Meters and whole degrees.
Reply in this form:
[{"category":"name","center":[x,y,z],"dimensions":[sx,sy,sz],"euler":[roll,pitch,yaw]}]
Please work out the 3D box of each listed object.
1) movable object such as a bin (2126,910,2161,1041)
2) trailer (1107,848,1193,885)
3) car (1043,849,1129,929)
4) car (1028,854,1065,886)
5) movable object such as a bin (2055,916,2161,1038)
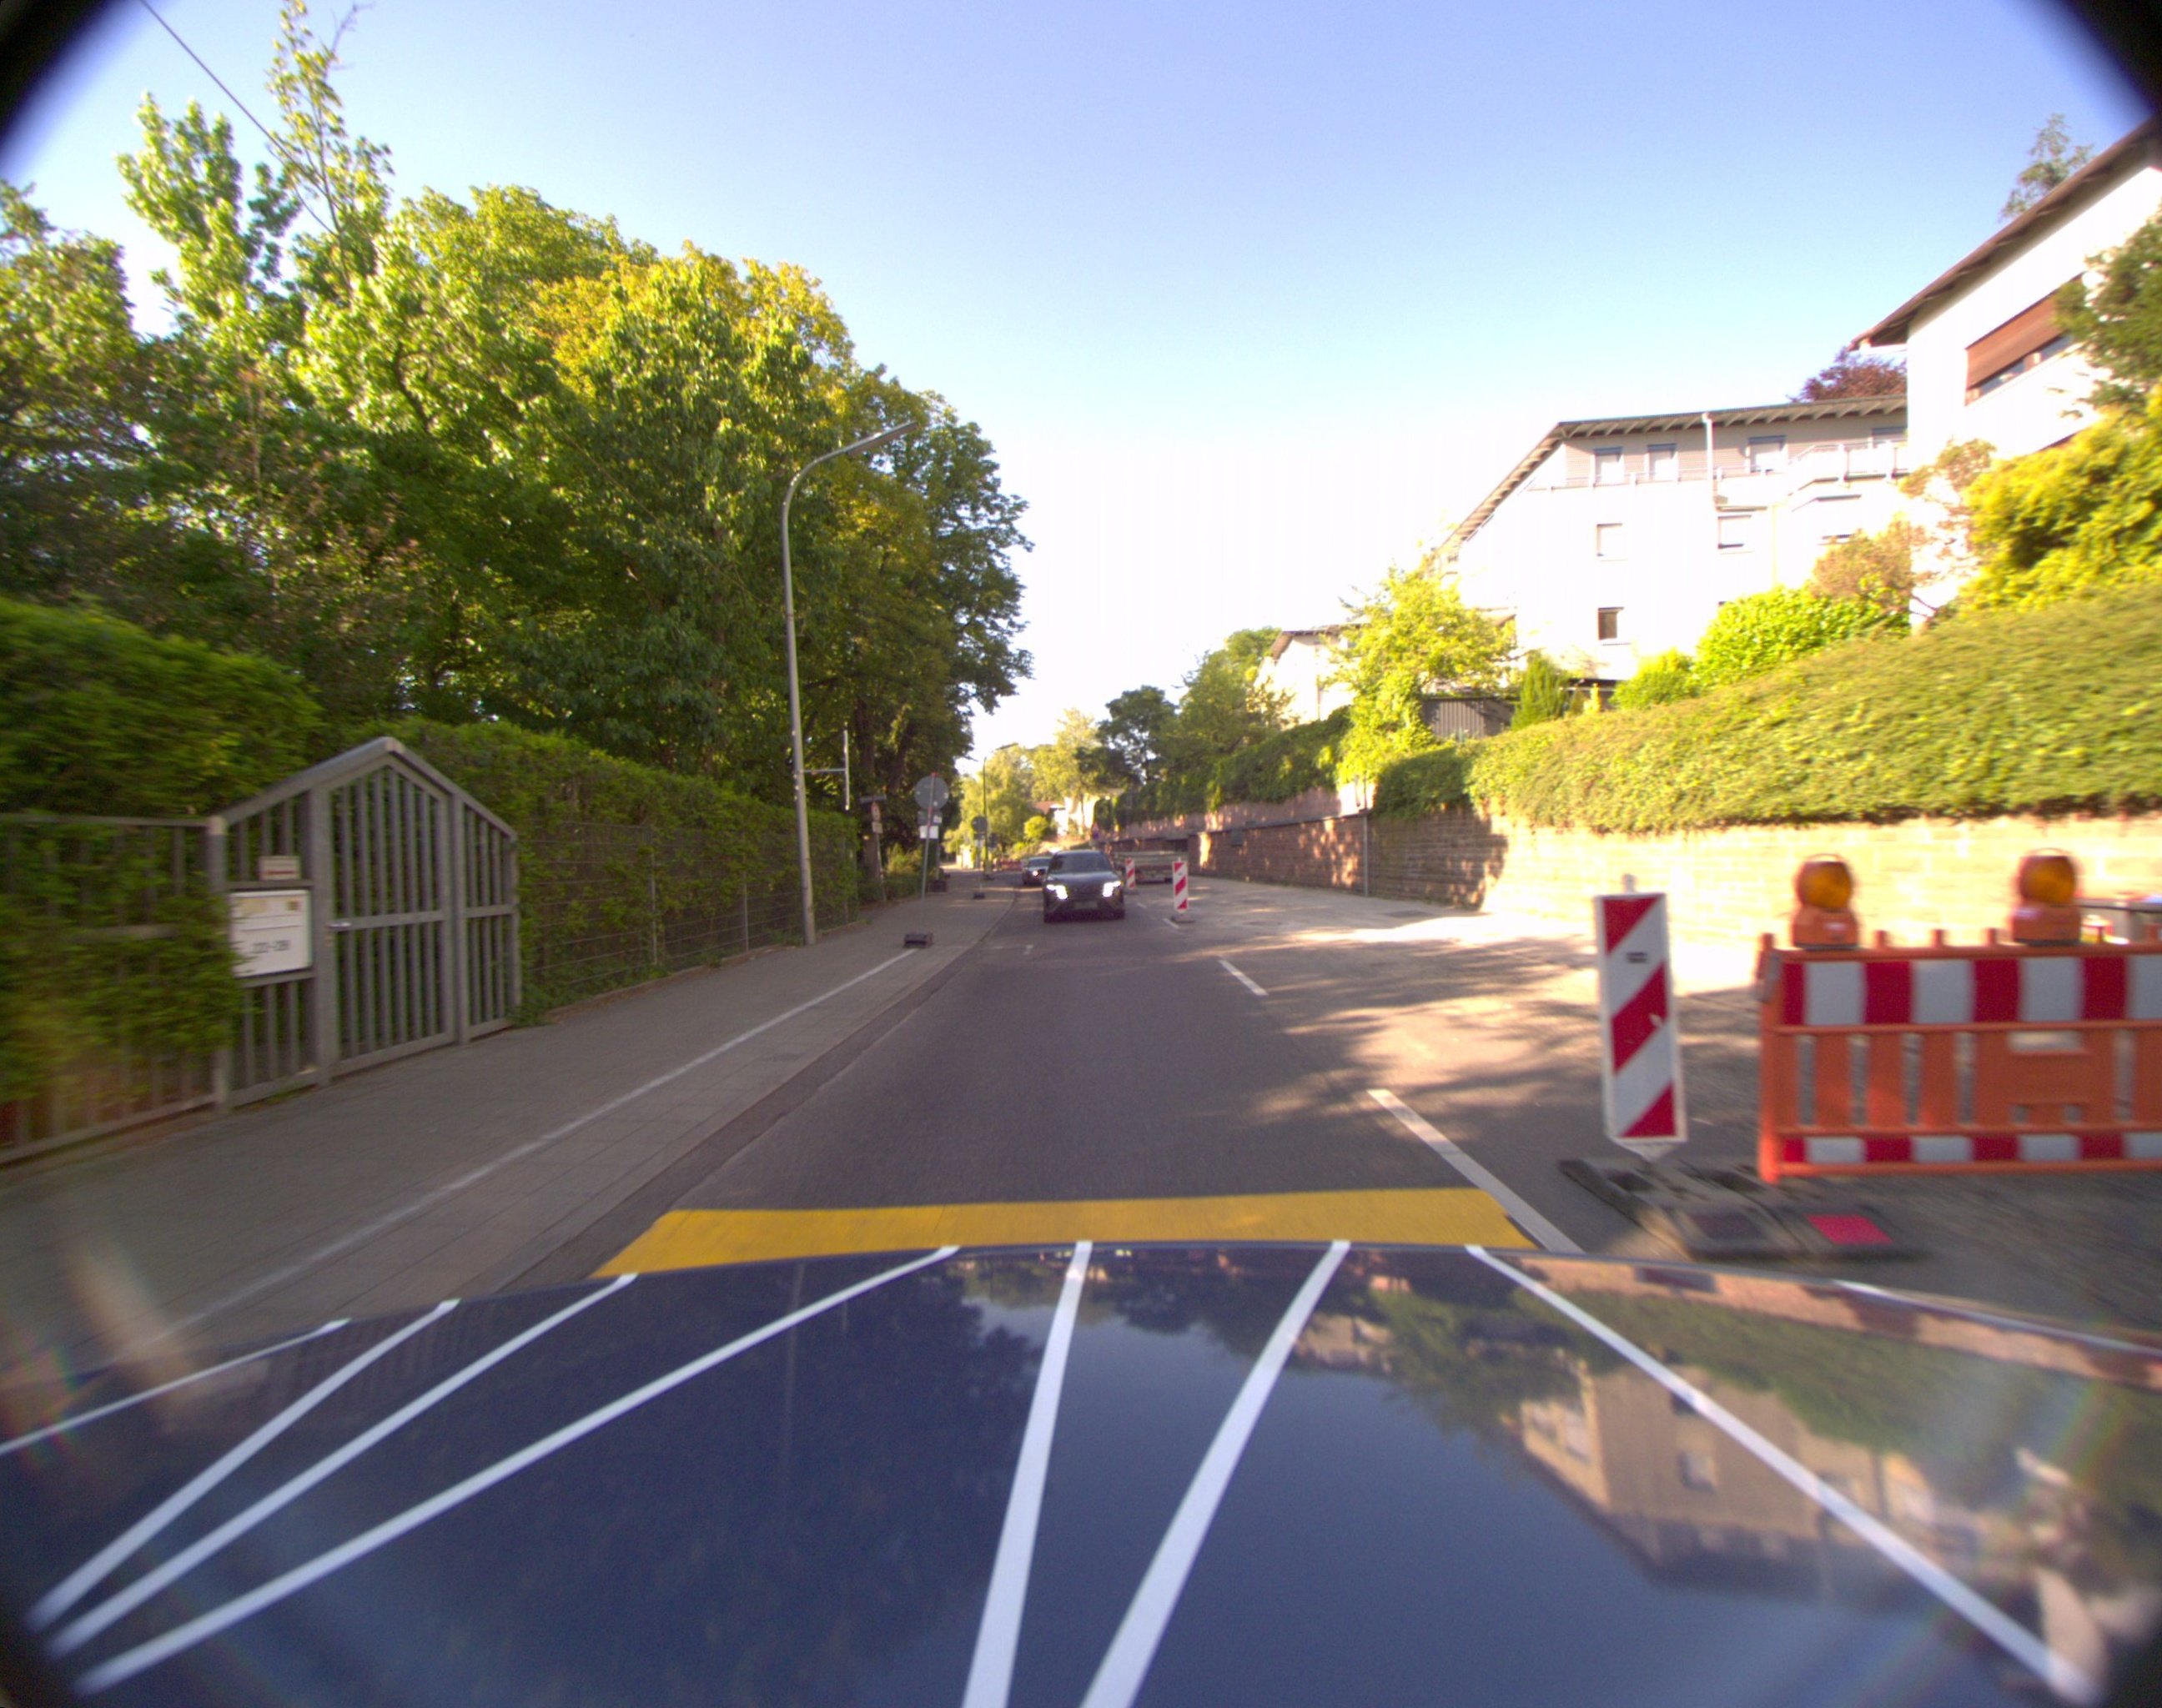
[{"category":"movable object such as a bin","center":[7.665,0.839,5.148],"dimensions":[0.457,0.879,0.500],"euler":[-3,1,2]},{"category":"trailer","center":[3.179,0.519,37.131],"dimensions":[2.648,1.481,7.113],"euler":[-3,1,-8]},{"category":"car","center":[0.160,0.742,18.708],"dimensions":[1.788,1.639,4.474],"euler":[-3,0,1]},{"category":"car","center":[-1.820,0.769,39.048],"dimensions":[1.663,1.468,3.681],"euler":[-3,1,-5]},{"category":"movable object such as a bin","center":[7.691,0.895,5.619],"dimensions":[0.455,0.829,0.392],"euler":[-2,1,2]}]
